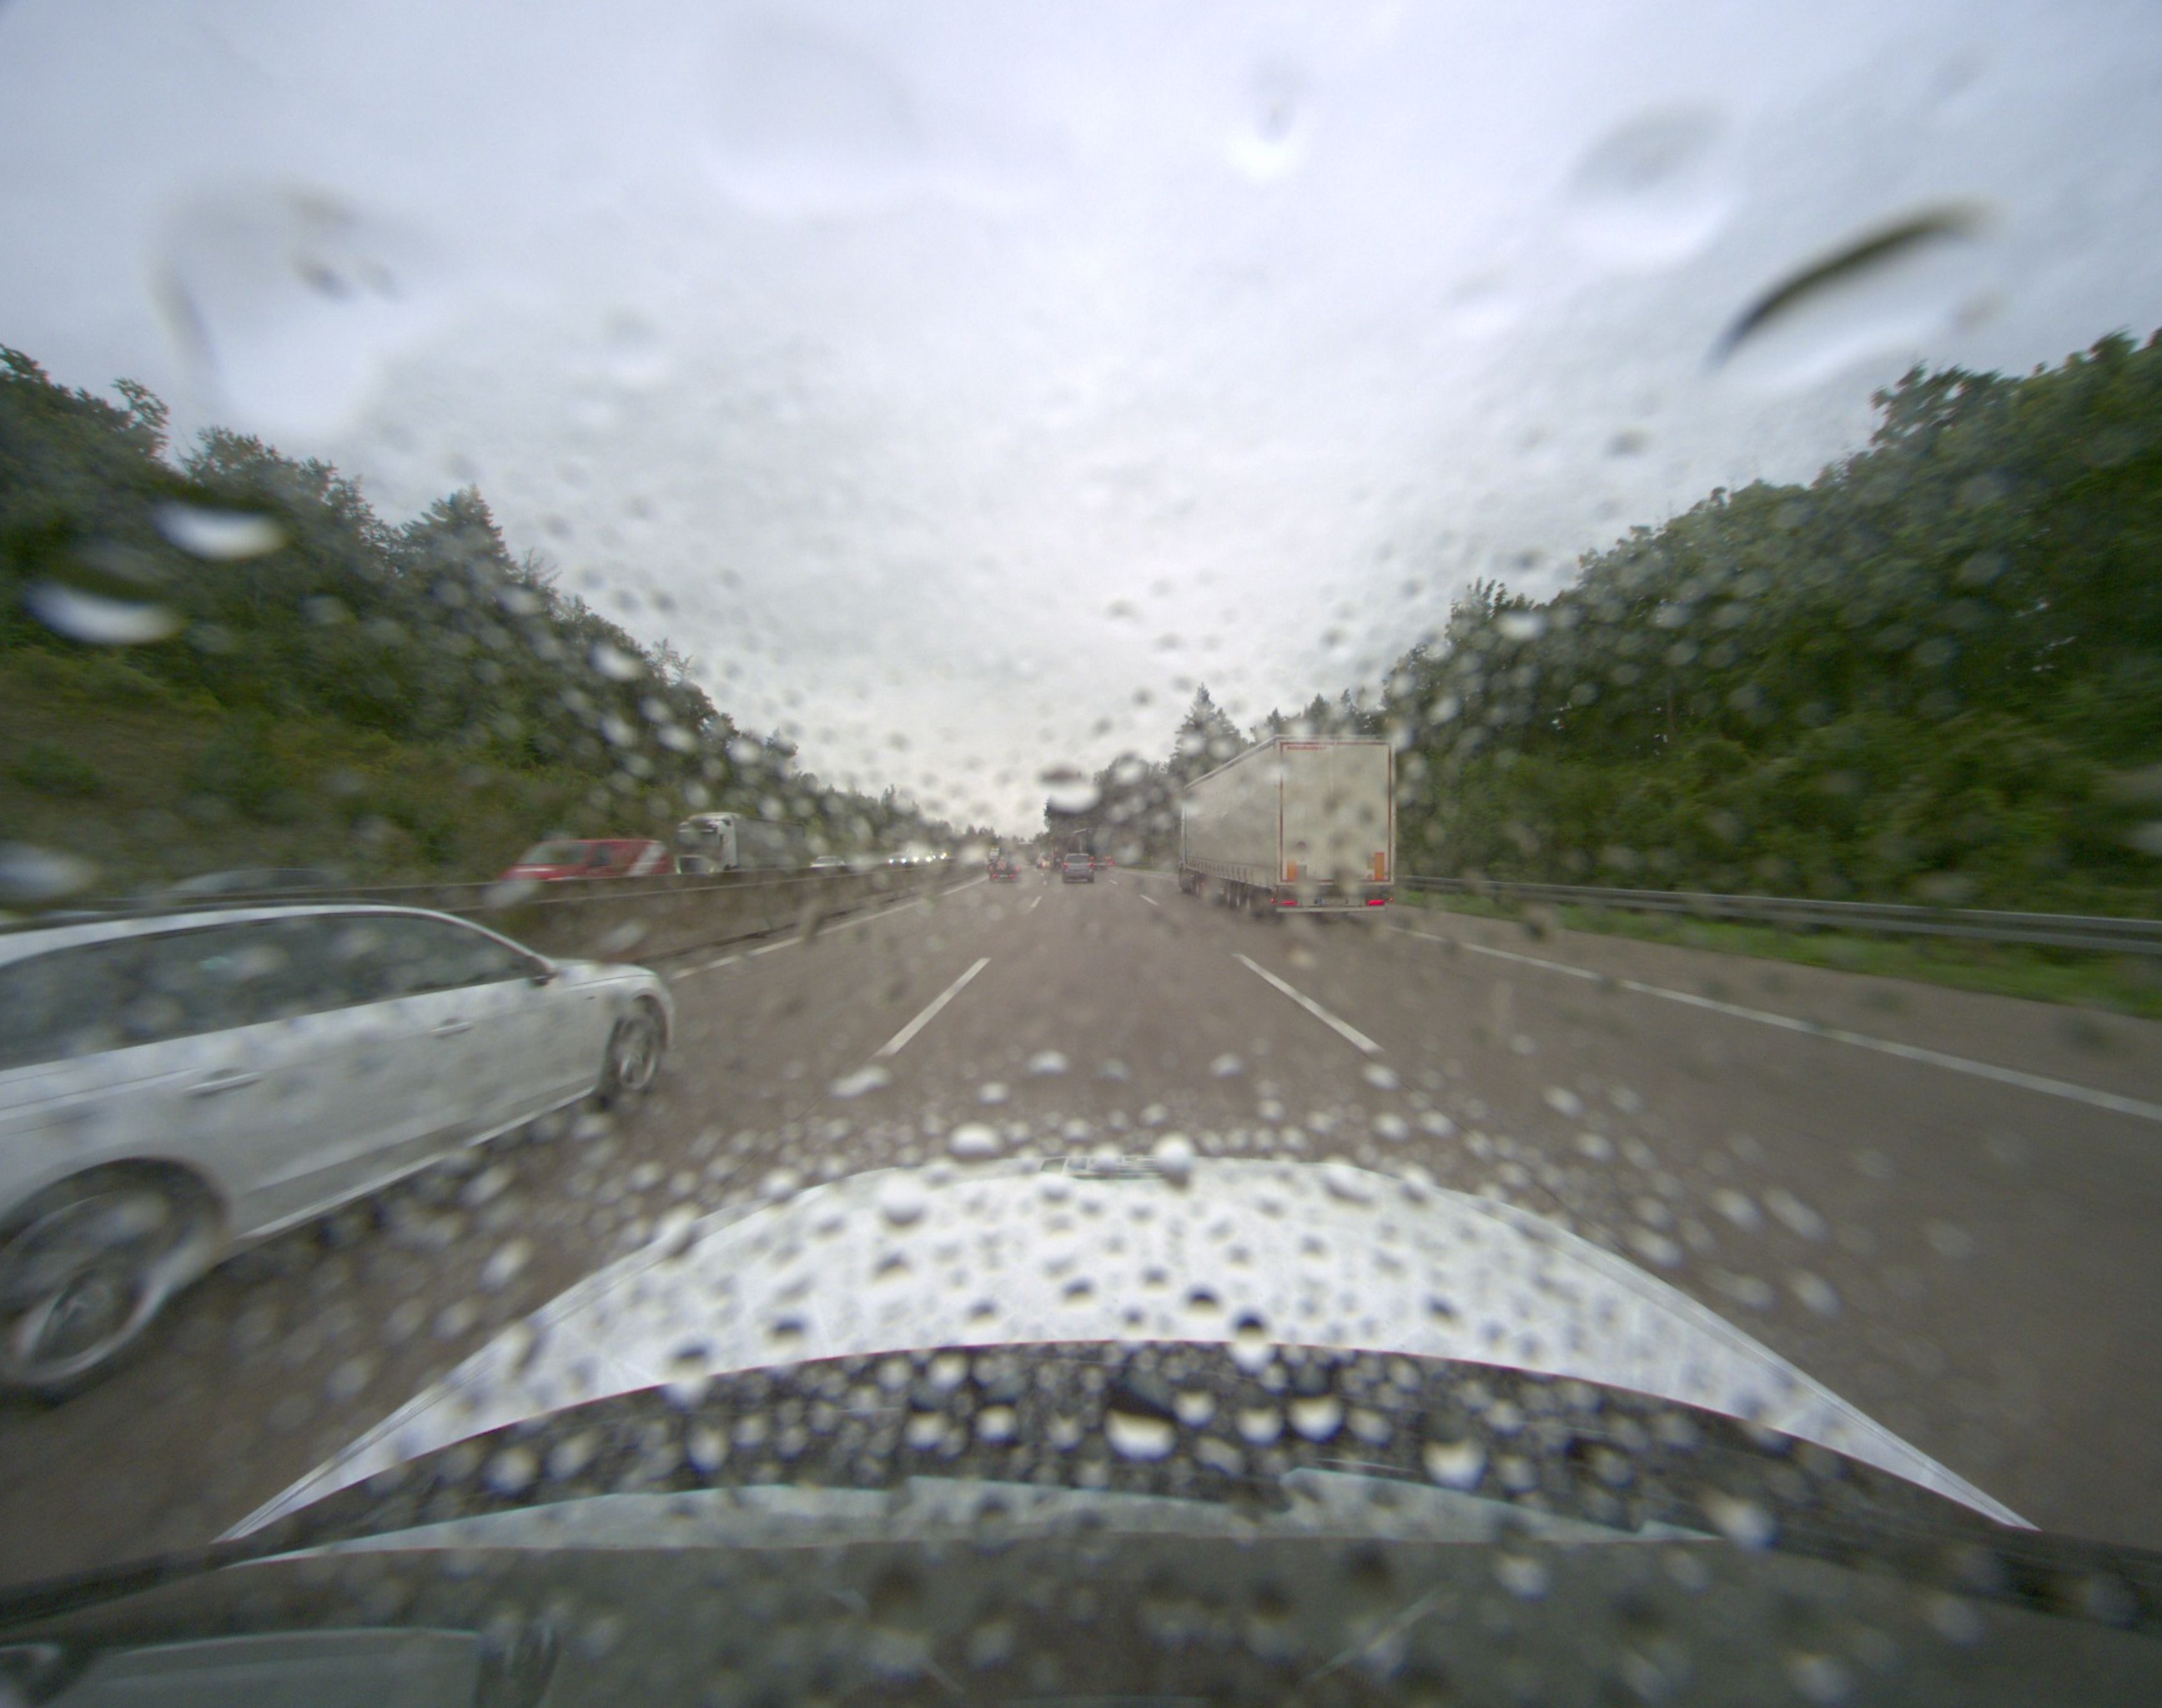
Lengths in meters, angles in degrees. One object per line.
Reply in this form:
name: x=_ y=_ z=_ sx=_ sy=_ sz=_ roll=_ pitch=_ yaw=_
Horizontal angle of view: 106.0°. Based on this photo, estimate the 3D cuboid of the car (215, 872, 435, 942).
car: x=-17.943 y=1.197 z=19.627 sx=1.617 sy=1.393 sz=3.997 roll=-1 pitch=0 yaw=-2

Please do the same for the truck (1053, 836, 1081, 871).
truck: x=-1.313 y=-0.070 z=72.082 sx=2.264 sy=2.886 sz=7.895 roll=-1 pitch=1 yaw=-3

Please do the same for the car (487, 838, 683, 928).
car: x=-13.021 y=0.699 z=21.905 sx=1.987 sy=2.082 sz=5.330 roll=-1 pitch=0 yaw=0

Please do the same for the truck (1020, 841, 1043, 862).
truck: x=-7.462 y=-0.392 z=121.738 sx=3.078 sy=2.905 sz=7.888 roll=-1 pitch=1 yaw=-5

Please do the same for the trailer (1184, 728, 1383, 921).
trailer: x=5.082 y=-0.624 z=23.382 sx=2.413 sy=4.068 sz=12.047 roll=-1 pitch=0 yaw=-1

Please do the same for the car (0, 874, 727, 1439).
car: x=-3.670 y=0.865 z=3.837 sx=1.706 sy=1.407 sz=4.937 roll=-1 pitch=0 yaw=1

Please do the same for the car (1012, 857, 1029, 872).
car: x=-6.204 y=1.055 z=83.198 sx=1.680 sy=1.462 sz=3.679 roll=0 pitch=0 yaw=-4

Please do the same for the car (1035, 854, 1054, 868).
car: x=-3.860 y=0.701 z=86.206 sx=1.876 sy=1.473 sz=3.999 roll=0 pitch=0 yaw=-1

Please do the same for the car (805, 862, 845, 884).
car: x=-17.483 y=1.295 z=55.808 sx=1.618 sy=1.393 sz=3.996 roll=-1 pitch=0 yaw=-3

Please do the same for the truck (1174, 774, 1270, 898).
truck: x=4.954 y=-0.600 z=29.401 sx=2.413 sy=4.068 sz=4.975 roll=-1 pitch=0 yaw=-1

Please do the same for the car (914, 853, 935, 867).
car: x=-16.818 y=0.646 z=87.686 sx=1.618 sy=1.393 sz=3.996 roll=-1 pitch=0 yaw=-3

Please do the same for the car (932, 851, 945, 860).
car: x=-23.065 y=0.286 z=132.034 sx=1.618 sy=1.393 sz=3.996 roll=-1 pitch=0 yaw=-3

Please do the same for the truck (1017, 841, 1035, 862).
truck: x=-11.720 y=-0.574 z=174.822 sx=3.732 sy=4.210 sz=6.808 roll=-2 pitch=-1 yaw=-4

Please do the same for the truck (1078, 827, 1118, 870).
truck: x=1.596 y=-0.516 z=83.731 sx=3.361 sy=4.131 sz=10.426 roll=-1 pitch=0 yaw=-3

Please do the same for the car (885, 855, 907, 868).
car: x=-20.649 y=0.815 z=91.018 sx=1.618 sy=1.393 sz=3.996 roll=-1 pitch=0 yaw=-3

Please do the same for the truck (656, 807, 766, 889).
truck: x=-21.170 y=-0.303 z=47.214 sx=2.738 sy=4.284 sz=8.308 roll=-1 pitch=0 yaw=-2

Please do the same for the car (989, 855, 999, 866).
car: x=-16.089 y=1.224 z=150.708 sx=1.722 sy=2.014 sz=3.650 roll=-1 pitch=-1 yaw=-5

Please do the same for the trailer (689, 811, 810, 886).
trailer: x=-21.374 y=-0.315 z=53.732 sx=2.738 sy=4.284 sz=13.705 roll=-1 pitch=0 yaw=-2

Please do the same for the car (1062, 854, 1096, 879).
car: x=-0.135 y=0.664 z=45.398 sx=1.551 sy=1.351 sz=3.677 roll=0 pitch=0 yaw=-5
